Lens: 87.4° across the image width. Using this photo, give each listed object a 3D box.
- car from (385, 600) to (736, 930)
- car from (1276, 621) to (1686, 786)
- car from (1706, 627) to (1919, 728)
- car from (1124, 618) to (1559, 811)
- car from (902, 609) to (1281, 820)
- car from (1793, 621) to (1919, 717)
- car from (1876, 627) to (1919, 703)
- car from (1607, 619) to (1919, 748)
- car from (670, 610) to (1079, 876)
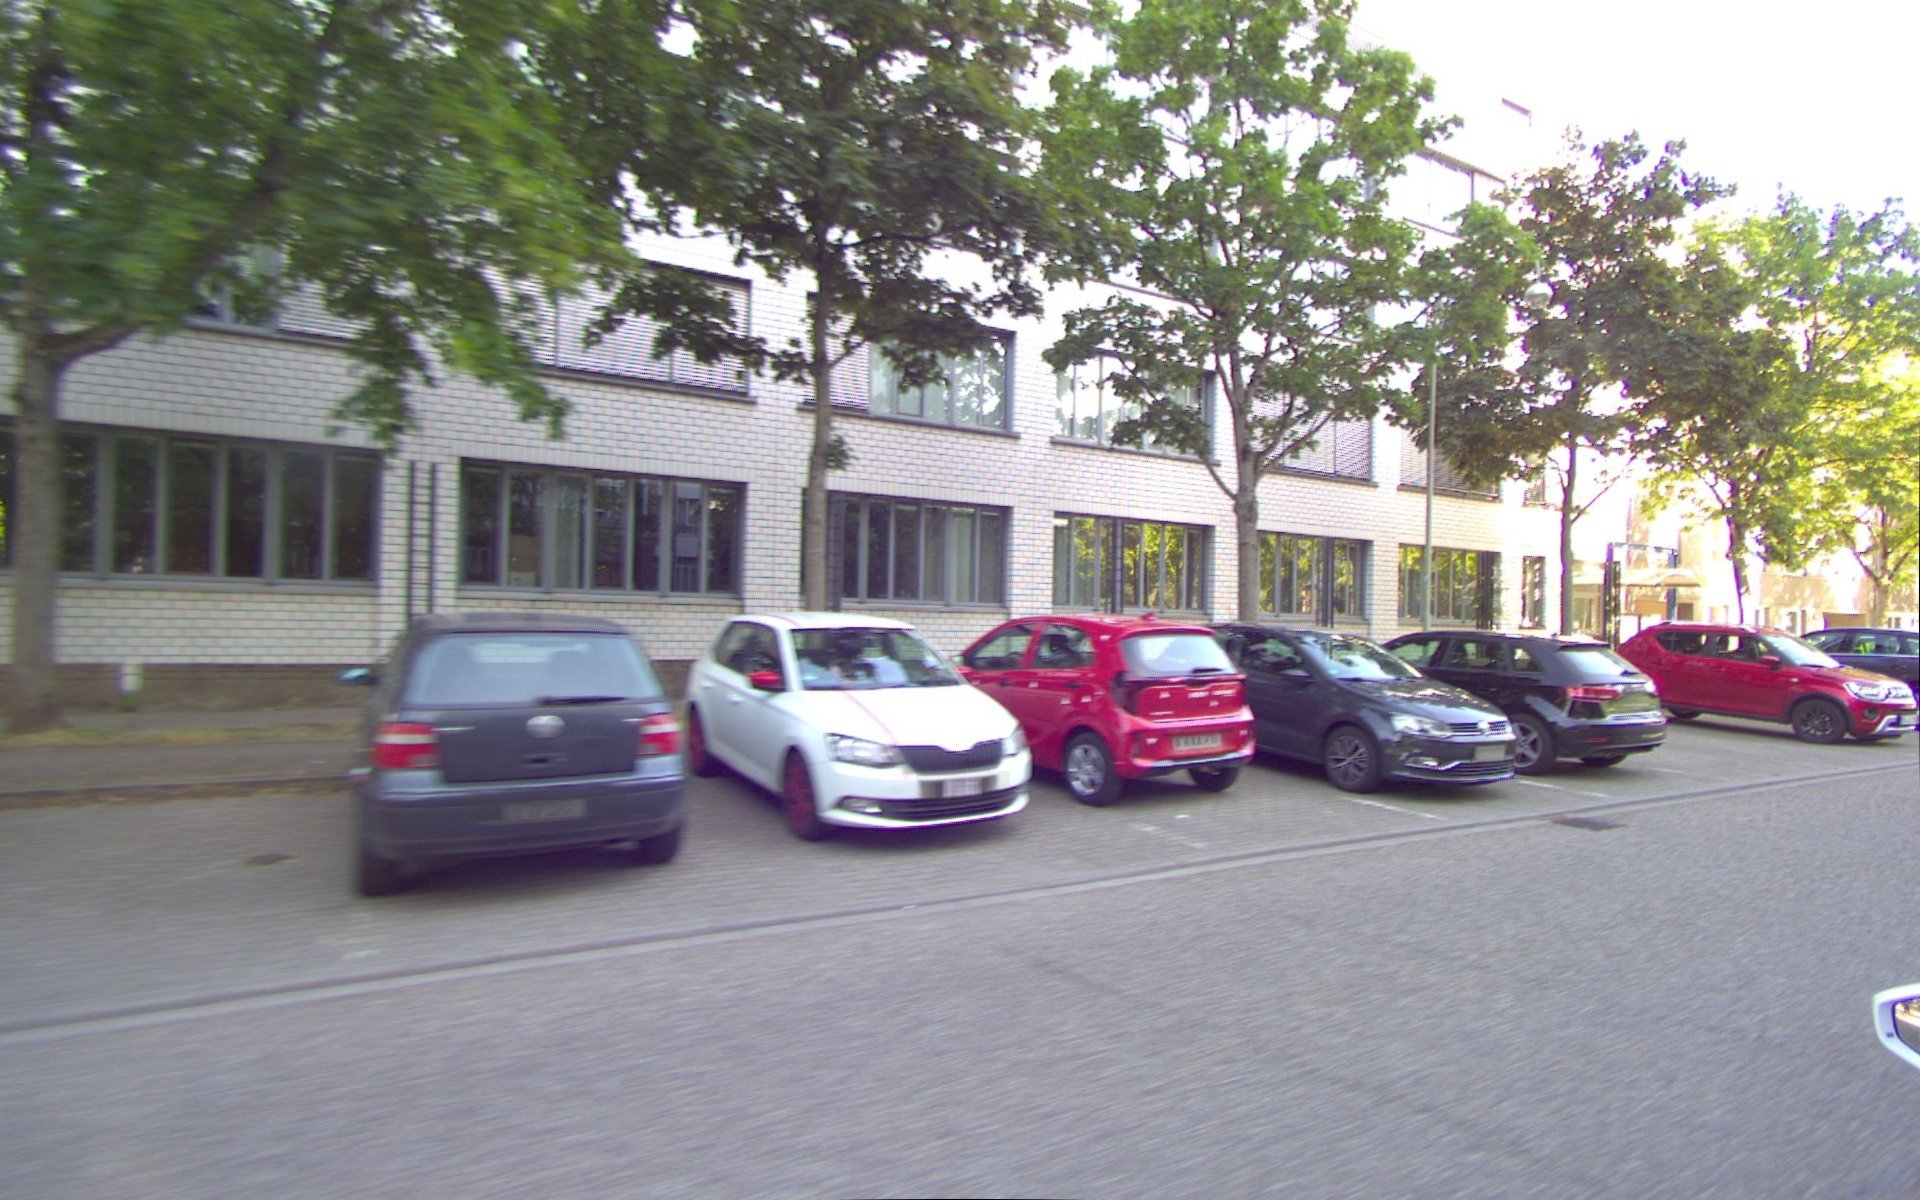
[{"bbox_3d":[-2.822,0.787,6.683,1.611,1.464,3.746,2,0,-29],"label":"car"},{"bbox_3d":[5.794,1.049,11.676,1.587,1.425,3.966,2,0,-31],"label":"car"},{"bbox_3d":[15.591,1.300,17.392,1.742,1.607,3.974,3,-3,-26],"label":"car"},{"bbox_3d":[3.602,0.981,10.222,1.646,1.431,3.967,2,0,-31],"label":"car"},{"bbox_3d":[1.046,0.874,9.368,1.679,1.483,3.397,1,1,-34],"label":"car"},{"bbox_3d":[18.386,1.301,18.806,1.689,1.742,3.968,1,-1,-30],"label":"car"},{"bbox_3d":[22.514,1.428,21.463,1.836,1.675,3.973,1,-2,-26],"label":"car"},{"bbox_3d":[12.112,1.164,15.177,1.739,1.679,3.527,3,-2,-27],"label":"car"},{"bbox_3d":[-0.929,0.867,8.052,1.735,1.476,3.845,0,1,-32],"label":"car"}]
